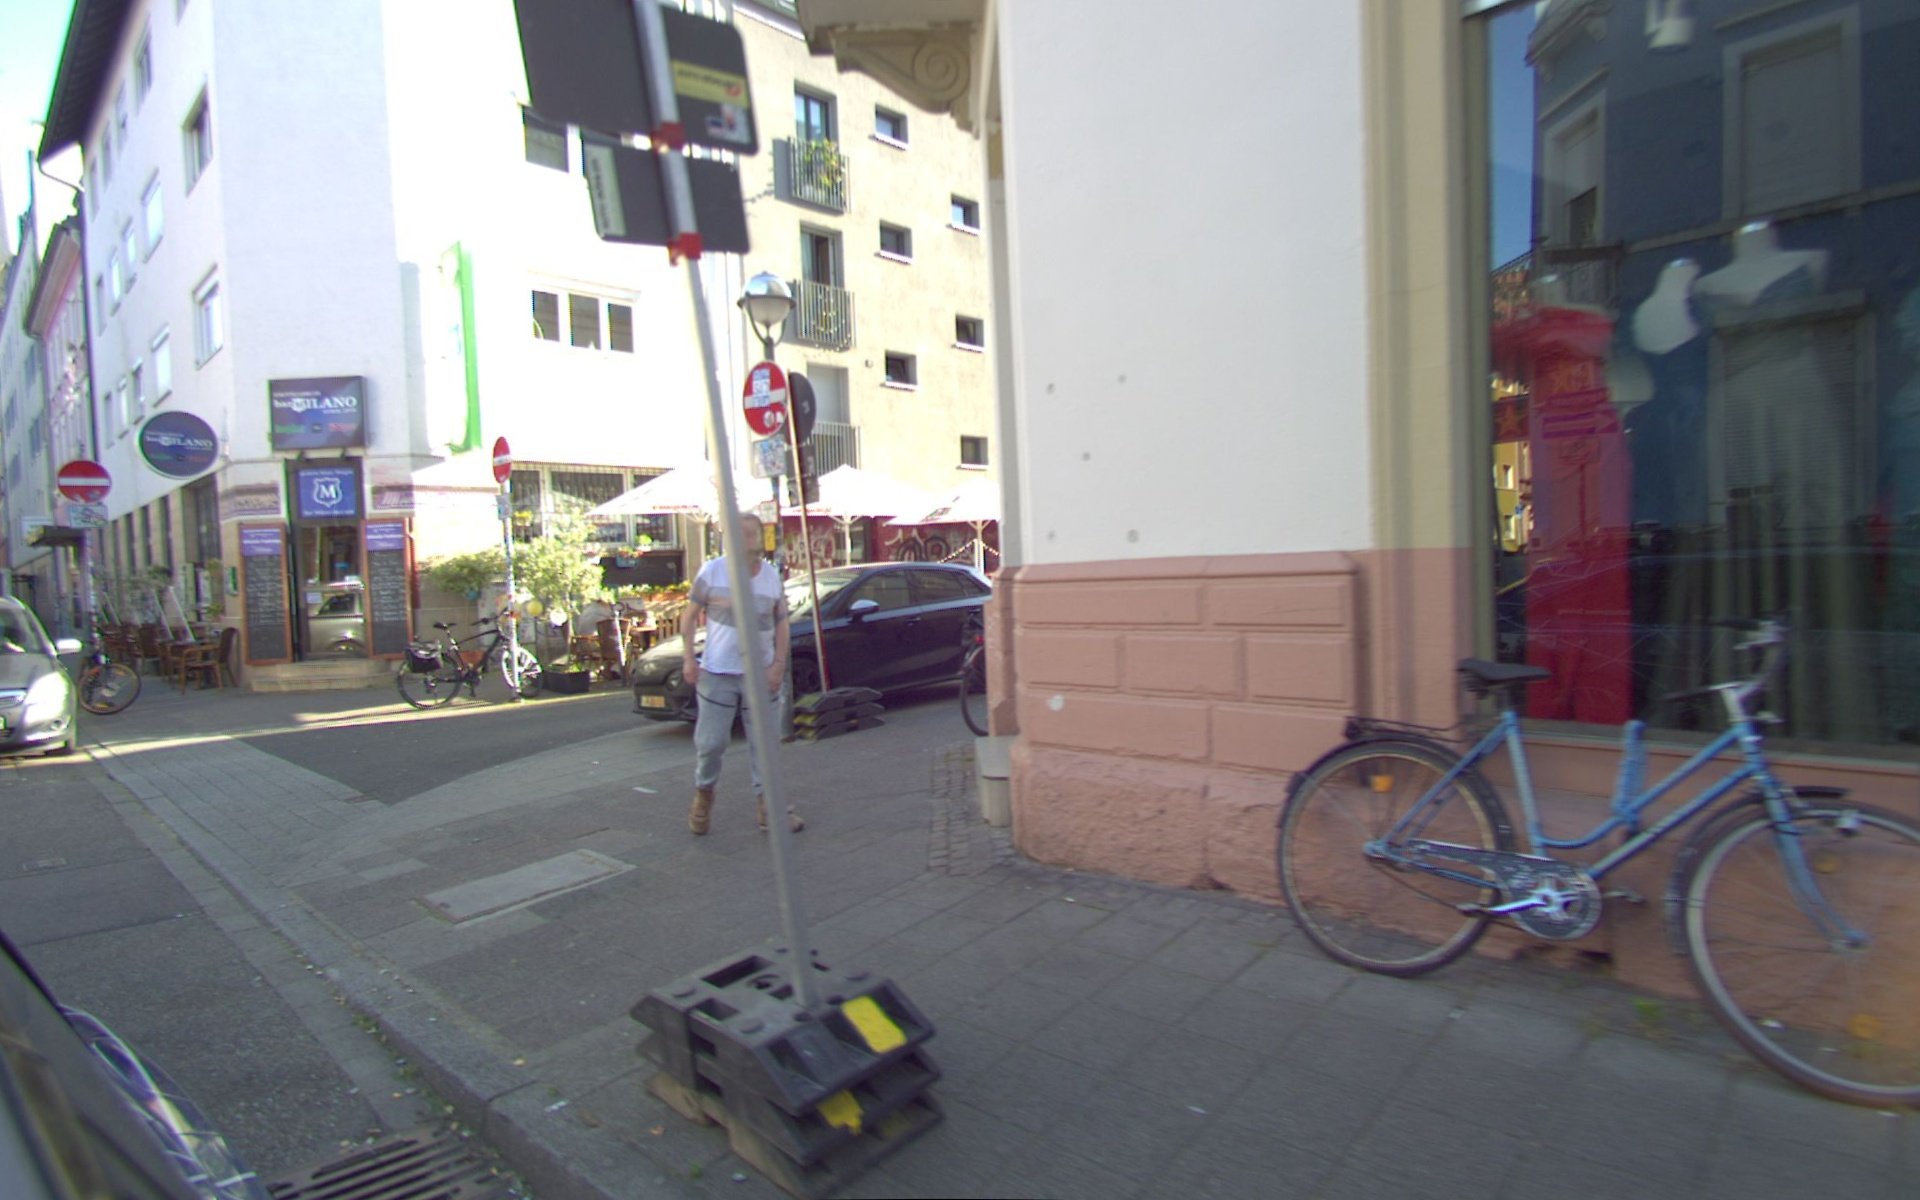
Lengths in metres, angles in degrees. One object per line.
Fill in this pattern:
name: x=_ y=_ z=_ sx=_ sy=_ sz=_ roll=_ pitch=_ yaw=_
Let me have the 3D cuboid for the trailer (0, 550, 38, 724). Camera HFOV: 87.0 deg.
trailer: x=-13.442 y=0.472 z=13.157 sx=4.362 sy=2.076 sz=1.644 roll=0 pitch=2 yaw=42

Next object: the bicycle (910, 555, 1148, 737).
bicycle: x=0.582 y=0.292 z=7.830 sx=1.898 sy=1.157 sz=0.613 roll=-6 pitch=4 yaw=-40

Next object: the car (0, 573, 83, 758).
car: x=-10.199 y=0.635 z=10.079 sx=4.165 sy=1.617 sz=1.704 roll=-2 pitch=1 yaw=42

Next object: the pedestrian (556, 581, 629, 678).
pedestrian: x=-5.164 y=0.400 z=14.226 sx=0.678 sy=1.275 sz=0.661 roll=-6 pitch=4 yaw=-42

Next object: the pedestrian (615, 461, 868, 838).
pedestrian: x=-1.116 y=0.223 z=5.168 sx=0.865 sy=1.713 sz=0.686 roll=-4 pitch=5 yaw=44

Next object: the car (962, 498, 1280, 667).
car: x=2.390 y=-0.349 z=13.676 sx=1.855 sy=1.863 sz=5.035 roll=-1 pitch=3 yaw=40

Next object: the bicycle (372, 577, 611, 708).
bicycle: x=-5.724 y=0.457 z=12.509 sx=0.929 sy=1.369 sz=2.448 roll=-1 pitch=3 yaw=44

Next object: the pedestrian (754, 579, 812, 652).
pedestrian: x=-2.988 y=0.244 z=17.090 sx=0.649 sy=1.163 sz=0.682 roll=-5 pitch=4 yaw=-37

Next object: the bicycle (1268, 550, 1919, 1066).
bicycle: x=1.815 y=0.426 z=2.645 sx=1.819 sy=1.029 sz=0.597 roll=0 pitch=7 yaw=45

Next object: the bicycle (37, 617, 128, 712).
bicycle: x=-11.607 y=0.826 z=13.377 sx=1.459 sy=1.147 sz=0.571 roll=-1 pitch=4 yaw=39

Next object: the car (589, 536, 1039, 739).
car: x=-1.210 y=0.207 z=9.838 sx=1.759 sy=1.466 sz=4.096 roll=-1 pitch=3 yaw=42

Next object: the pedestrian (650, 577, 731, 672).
pedestrian: x=-3.909 y=0.331 z=14.684 sx=0.838 sy=1.275 sz=0.707 roll=-6 pitch=4 yaw=-42

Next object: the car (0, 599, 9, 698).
car: x=-17.191 y=0.805 z=16.916 sx=3.819 sy=1.566 sz=1.658 roll=0 pitch=2 yaw=44
